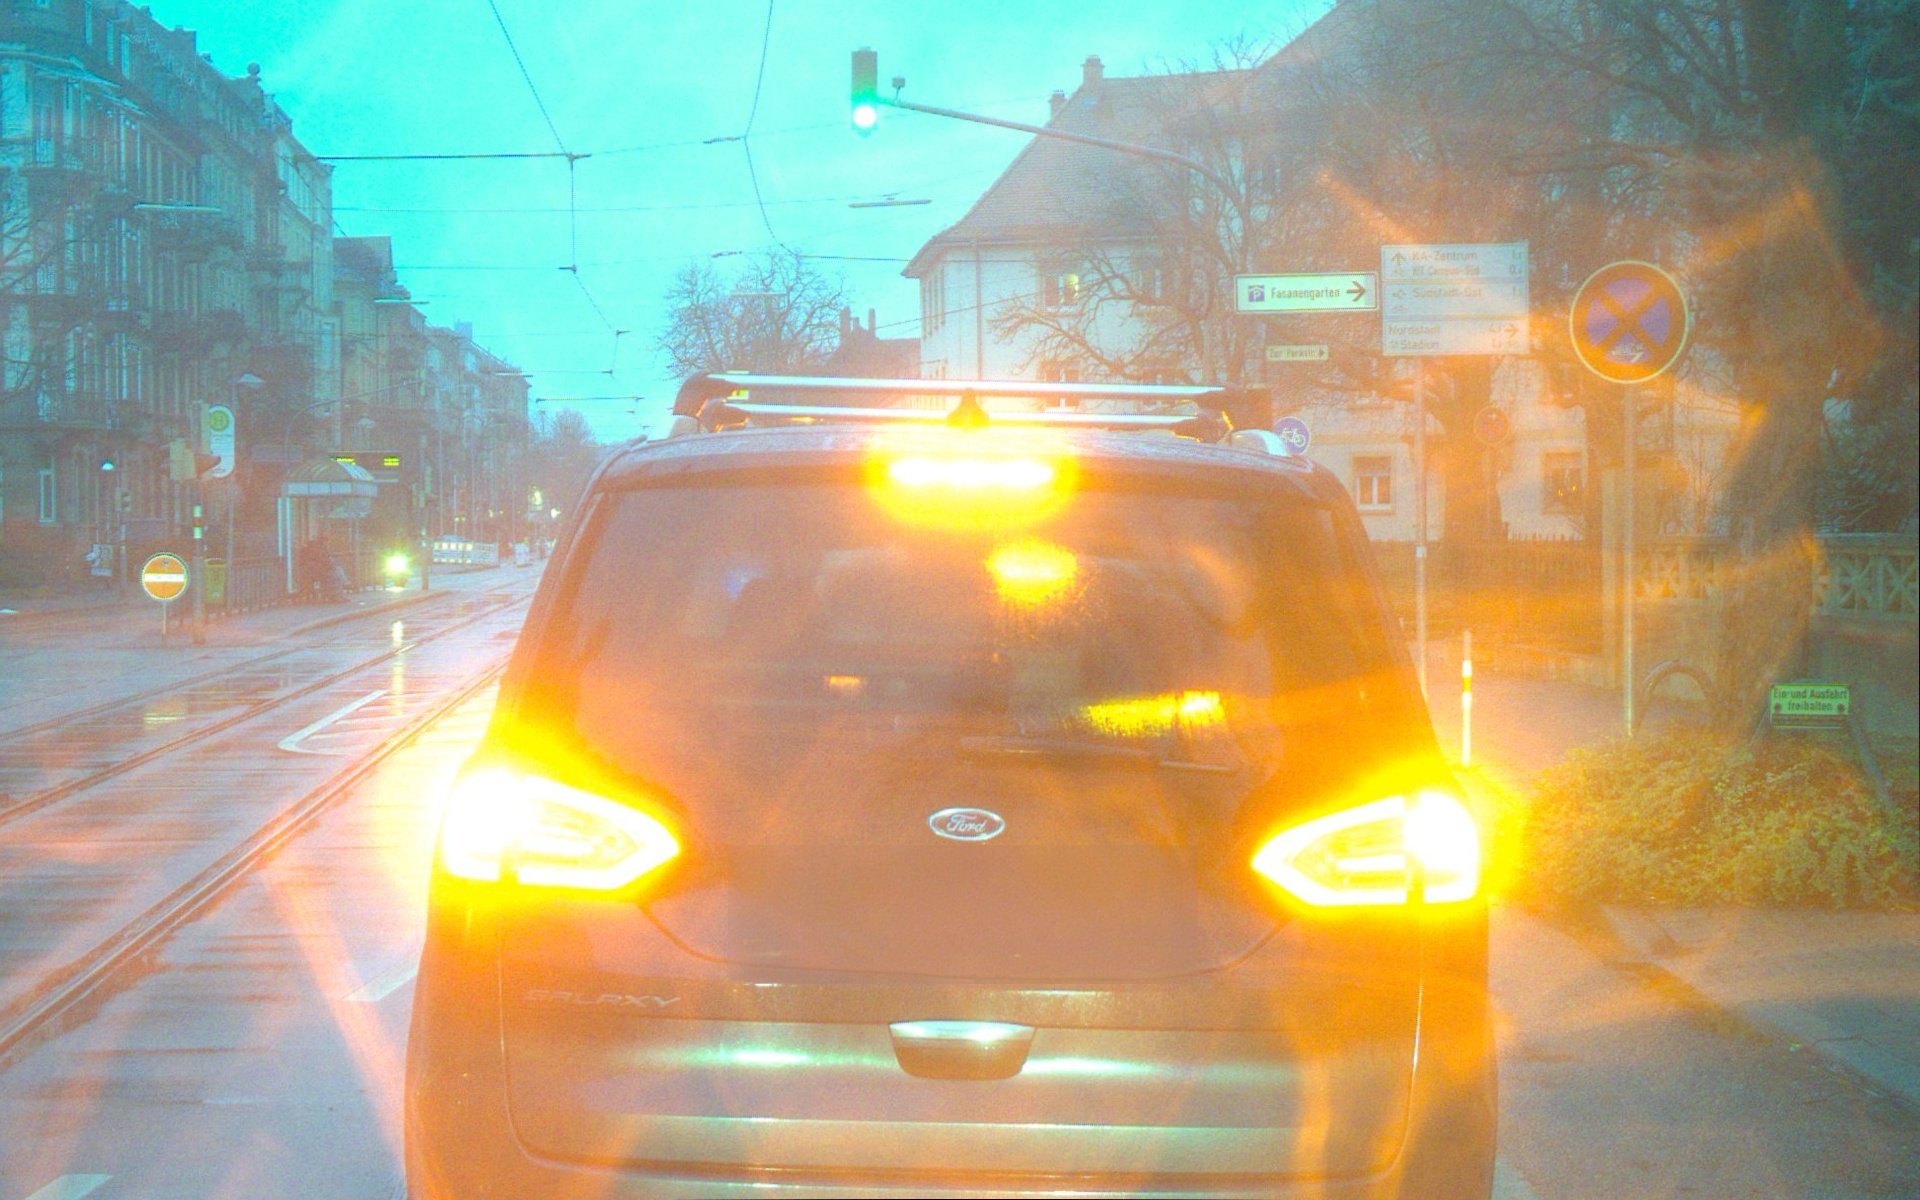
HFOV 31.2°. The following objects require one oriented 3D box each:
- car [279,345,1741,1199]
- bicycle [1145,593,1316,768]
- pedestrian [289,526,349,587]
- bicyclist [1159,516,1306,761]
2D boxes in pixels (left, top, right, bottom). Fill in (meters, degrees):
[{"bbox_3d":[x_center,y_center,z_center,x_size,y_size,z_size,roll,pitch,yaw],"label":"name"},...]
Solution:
[{"bbox_3d":[-0.016,0.512,7.348,2.103,1.810,4.661,1,1,-2],"label":"car"},{"bbox_3d":[1.893,0.547,24.325,0.716,1.108,1.942,4,1,-9],"label":"bicycle"},{"bbox_3d":[-12.682,-0.867,68.007,1.047,1.196,0.885,0,0,-3],"label":"pedestrian"},{"bbox_3d":[1.916,0.254,24.291,0.716,1.657,1.057,3,1,-8],"label":"bicyclist"}]
